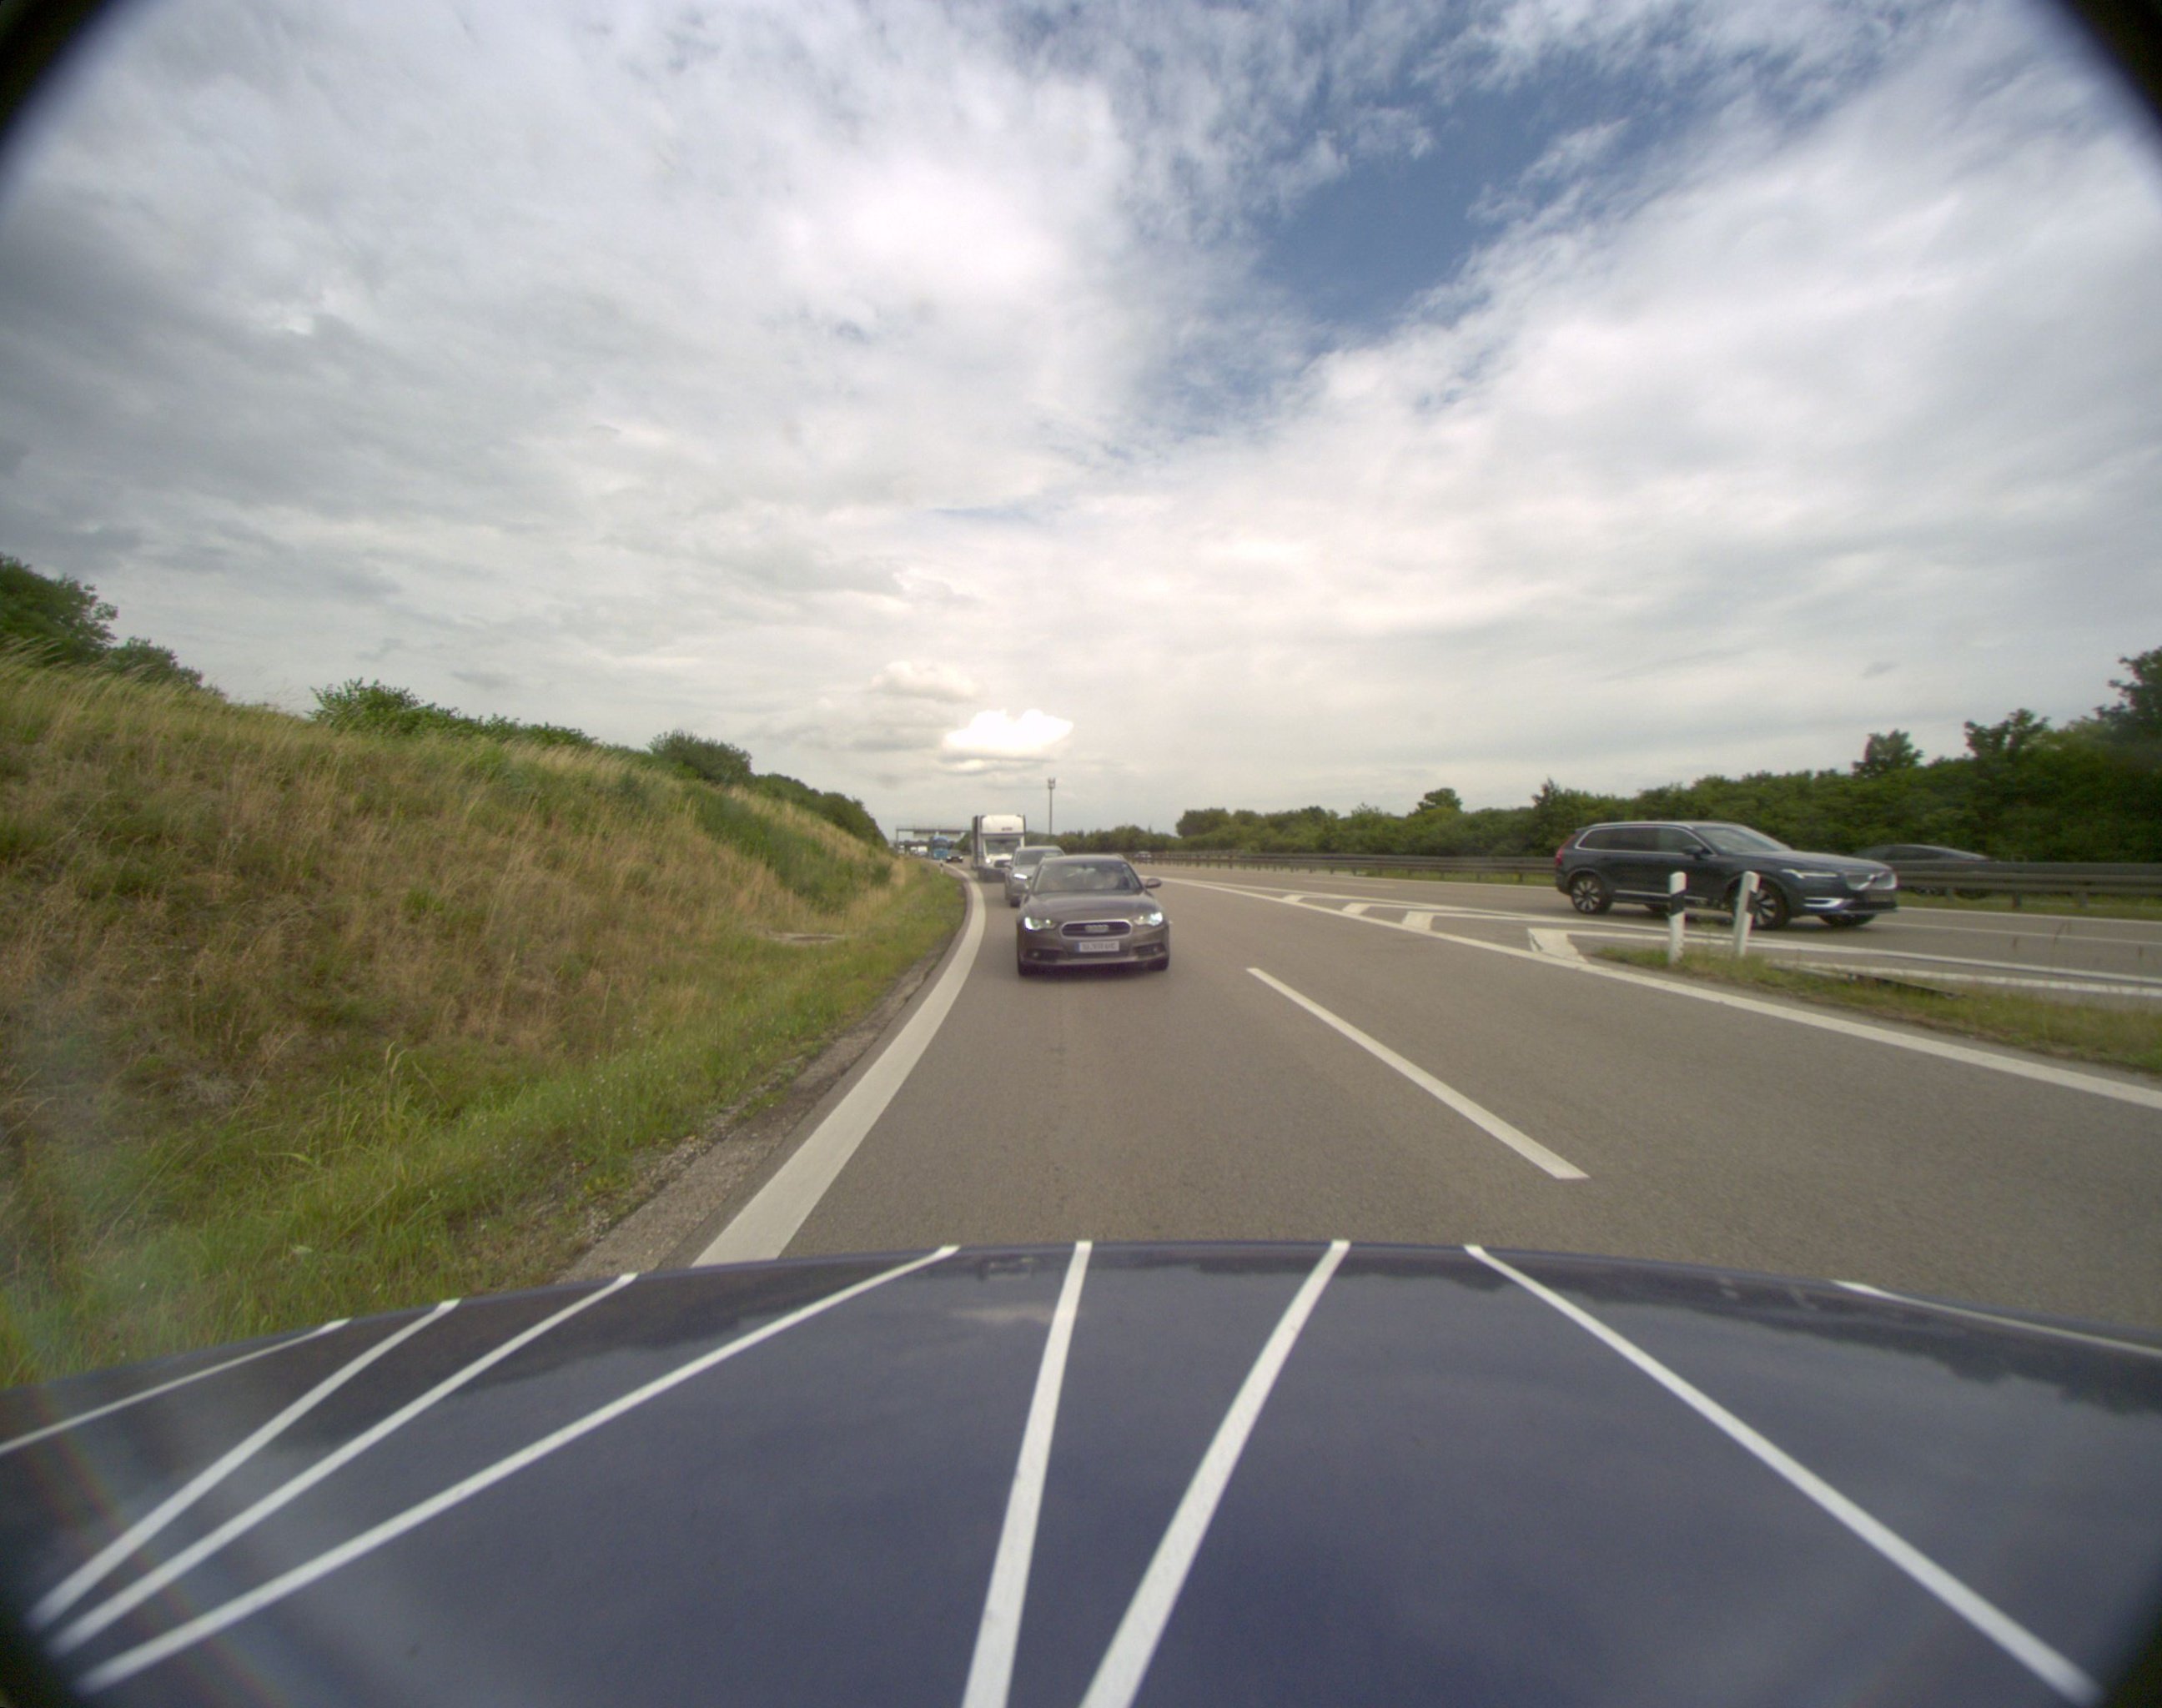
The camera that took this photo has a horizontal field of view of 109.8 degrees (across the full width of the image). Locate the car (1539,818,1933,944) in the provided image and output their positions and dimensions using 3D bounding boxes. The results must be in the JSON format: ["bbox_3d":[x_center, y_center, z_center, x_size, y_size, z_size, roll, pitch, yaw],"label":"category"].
[{"bbox_3d":[10.840,0.341,13.219,2.001,1.751,4.917,-1,1,-15],"label":"car"}]

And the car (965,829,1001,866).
[{"bbox_3d":[-7.737,-0.502,59.334,2.023,2.729,6.918,-1,1,-14],"label":"car"}]

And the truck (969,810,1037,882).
[{"bbox_3d":[-3.989,-0.401,37.586,2.451,3.217,7.182,-1,1,-13],"label":"truck"}]

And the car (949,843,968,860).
[{"bbox_3d":[-14.485,-0.327,89.815,2.001,2.002,3.995,-1,1,-13],"label":"car"}]

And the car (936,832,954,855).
[{"bbox_3d":[-23.226,-1.780,129.159,2.507,3.690,7.691,-1,1,-13],"label":"car"}]

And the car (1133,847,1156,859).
[{"bbox_3d":[8.234,-0.135,99.466,1.810,1.587,3.994,-1,1,-14],"label":"car"}]

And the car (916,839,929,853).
[{"bbox_3d":[-39.025,-1.975,186.846,2.949,3.447,6.562,-1,1,-13],"label":"car"}]

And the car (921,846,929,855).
[{"bbox_3d":[-36.932,-0.790,179.939,1.932,2.020,3.995,-1,1,-13],"label":"car"}]

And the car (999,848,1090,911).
[{"bbox_3d":[-1.143,0.644,21.798,2.000,1.567,3.995,-1,1,-12],"label":"car"}]

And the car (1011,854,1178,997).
[{"bbox_3d":[0.026,0.801,10.549,1.849,1.489,4.026,-2,1,-4],"label":"car"}]

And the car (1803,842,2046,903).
[{"bbox_3d":[25.352,0.469,23.139,2.001,1.652,4.559,-1,1,-12],"label":"car"}]
